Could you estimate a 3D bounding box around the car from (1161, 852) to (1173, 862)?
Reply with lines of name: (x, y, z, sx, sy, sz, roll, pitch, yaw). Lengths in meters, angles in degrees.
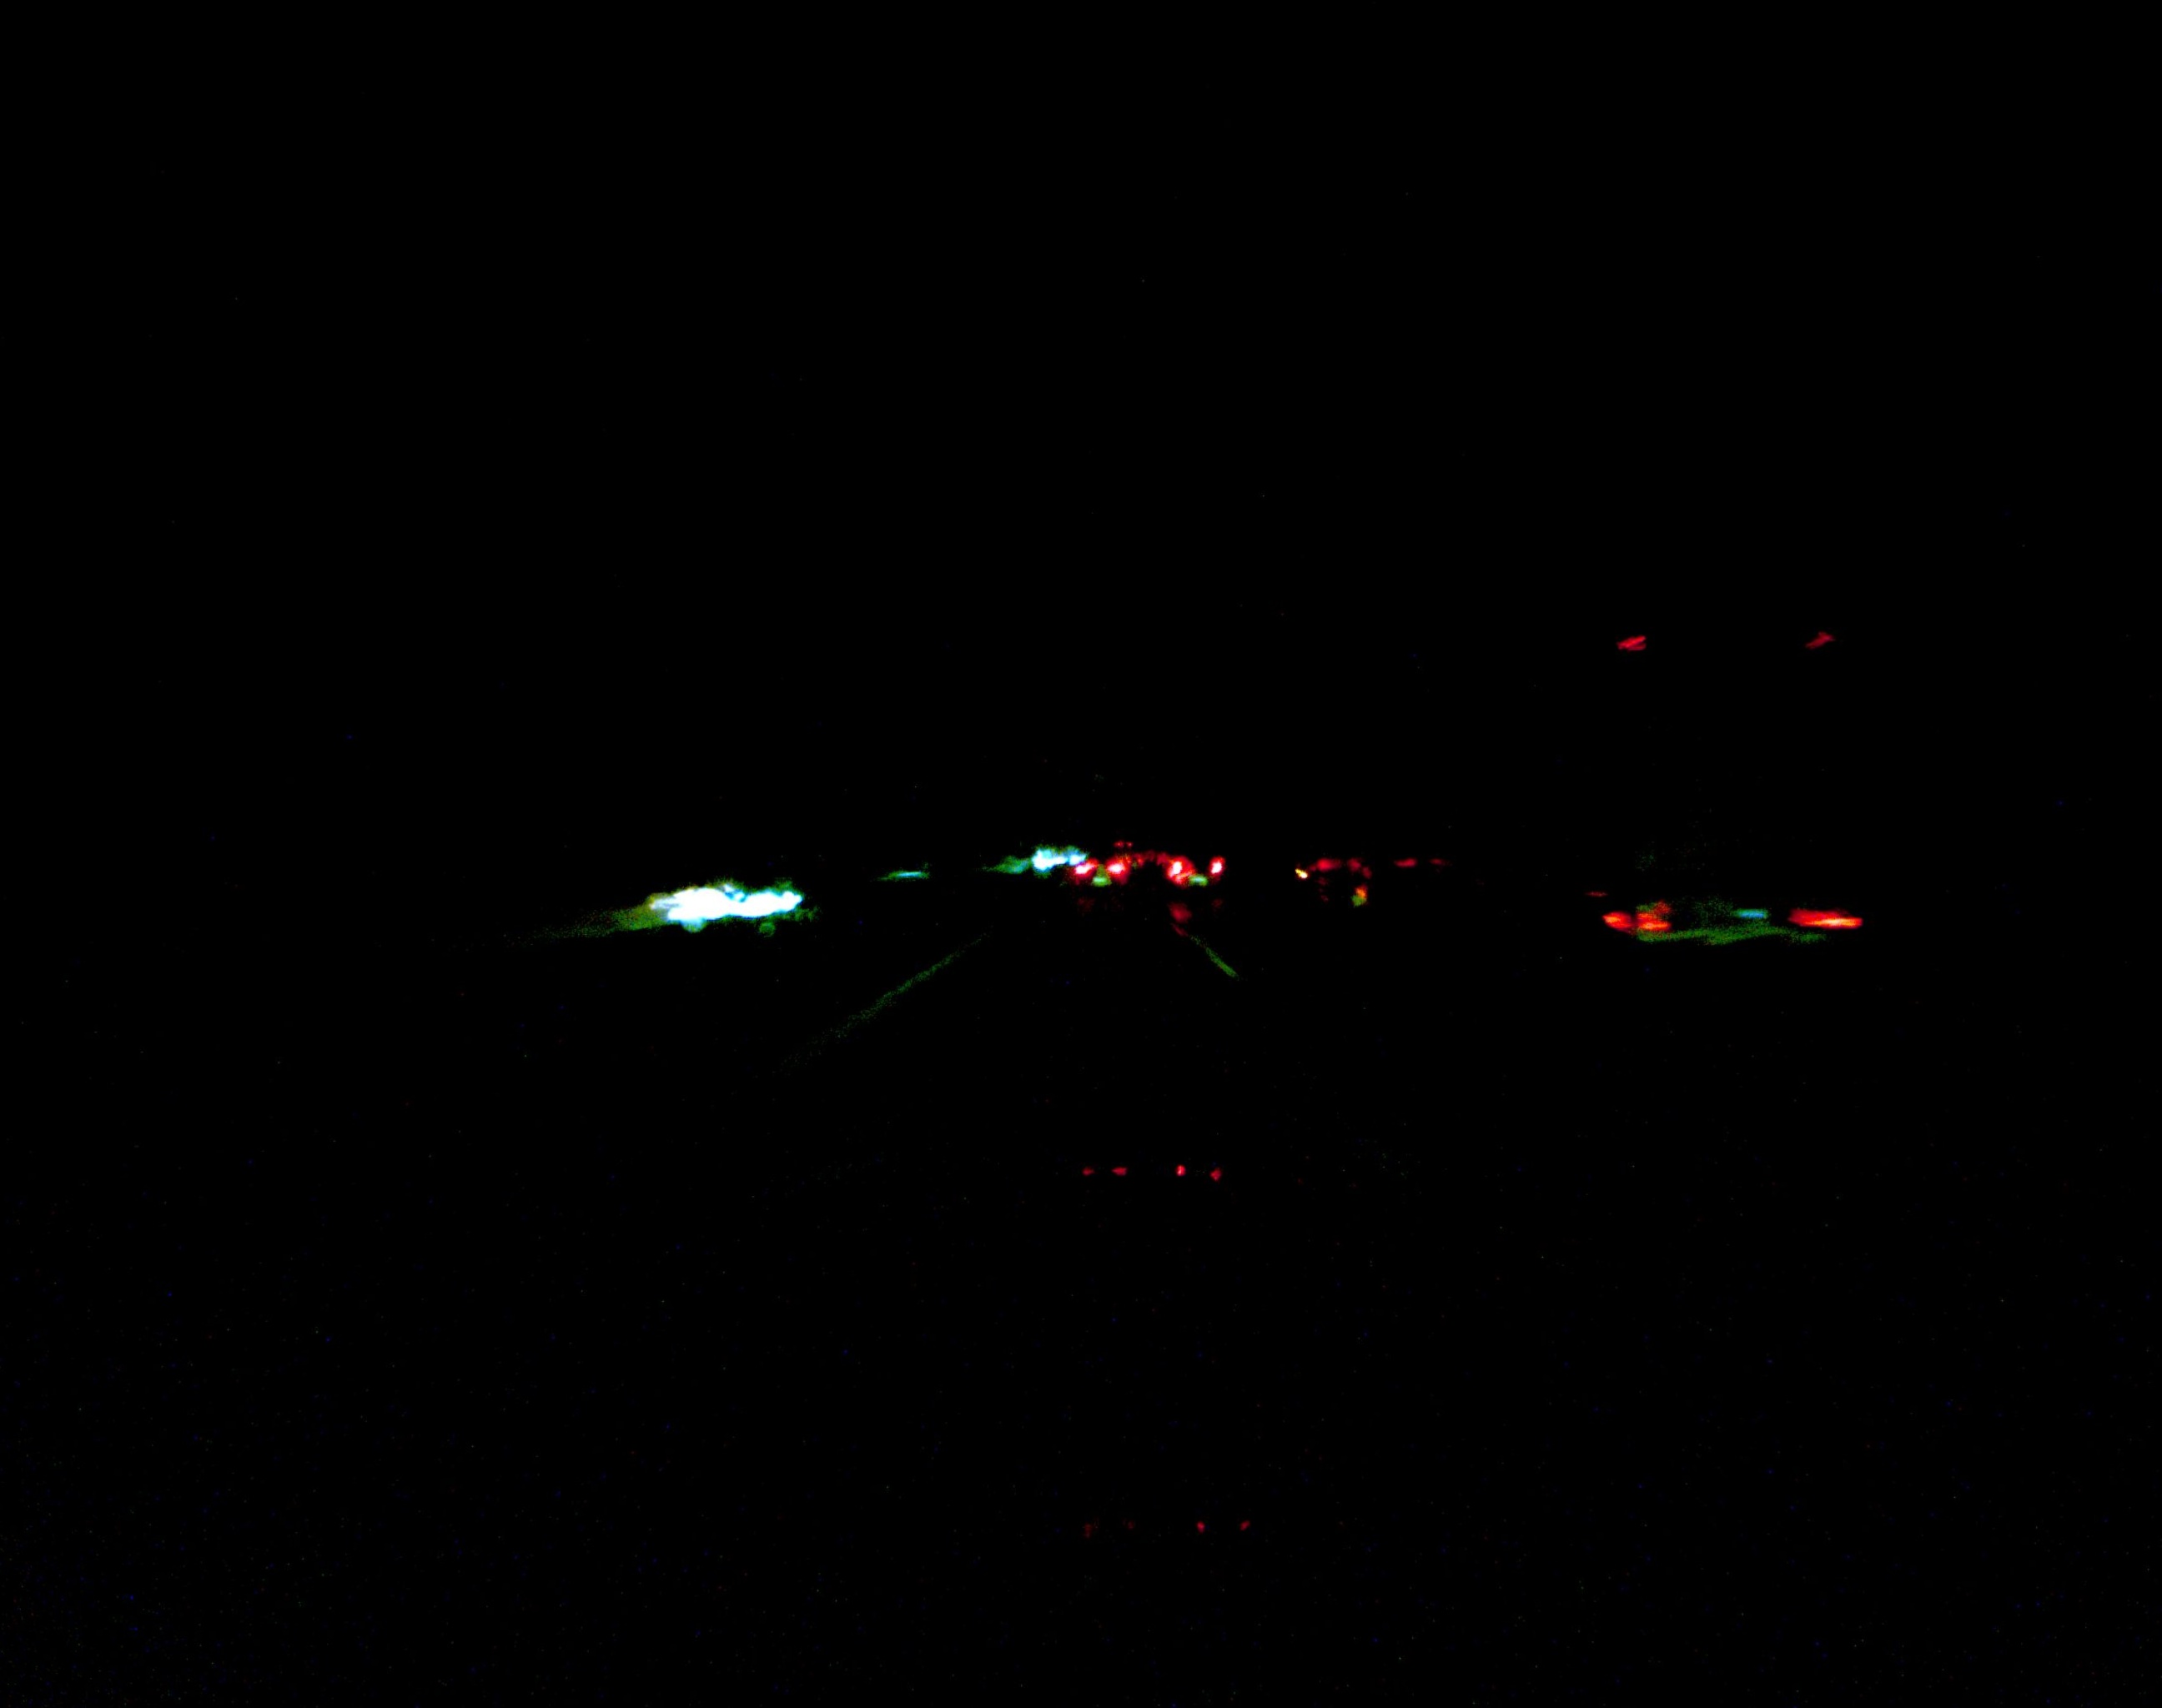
car: (13.926, 0.430, 131.466, 1.847, 1.618, 4.006, -1, 0, 6)

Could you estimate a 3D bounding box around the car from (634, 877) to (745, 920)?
car: (-15.825, 1.751, 33.234, 1.986, 1.501, 4.967, 0, 0, 2)

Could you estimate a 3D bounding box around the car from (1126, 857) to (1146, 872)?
car: (6.234, 1.185, 92.089, 2.128, 1.618, 4.002, 0, 0, 2)

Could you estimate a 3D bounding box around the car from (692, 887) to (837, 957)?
car: (-8.145, 1.687, 21.464, 1.957, 1.475, 4.448, 0, 0, 2)

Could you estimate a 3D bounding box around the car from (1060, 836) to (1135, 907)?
car: (0.637, 0.640, 33.908, 2.701, 2.533, 5.830, -3, 0, 0)

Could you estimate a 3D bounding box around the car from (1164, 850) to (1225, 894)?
car: (4.344, 0.662, 31.739, 1.877, 1.588, 4.001, -1, 0, 1)

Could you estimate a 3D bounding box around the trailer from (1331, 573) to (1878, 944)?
trailer: (7.850, -1.105, 15.394, 2.793, 4.212, 12.100, -1, 0, 1)

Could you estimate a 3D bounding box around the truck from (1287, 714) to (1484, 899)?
truck: (8.030, -1.116, 22.673, 2.793, 4.266, 7.450, -1, 0, 1)
